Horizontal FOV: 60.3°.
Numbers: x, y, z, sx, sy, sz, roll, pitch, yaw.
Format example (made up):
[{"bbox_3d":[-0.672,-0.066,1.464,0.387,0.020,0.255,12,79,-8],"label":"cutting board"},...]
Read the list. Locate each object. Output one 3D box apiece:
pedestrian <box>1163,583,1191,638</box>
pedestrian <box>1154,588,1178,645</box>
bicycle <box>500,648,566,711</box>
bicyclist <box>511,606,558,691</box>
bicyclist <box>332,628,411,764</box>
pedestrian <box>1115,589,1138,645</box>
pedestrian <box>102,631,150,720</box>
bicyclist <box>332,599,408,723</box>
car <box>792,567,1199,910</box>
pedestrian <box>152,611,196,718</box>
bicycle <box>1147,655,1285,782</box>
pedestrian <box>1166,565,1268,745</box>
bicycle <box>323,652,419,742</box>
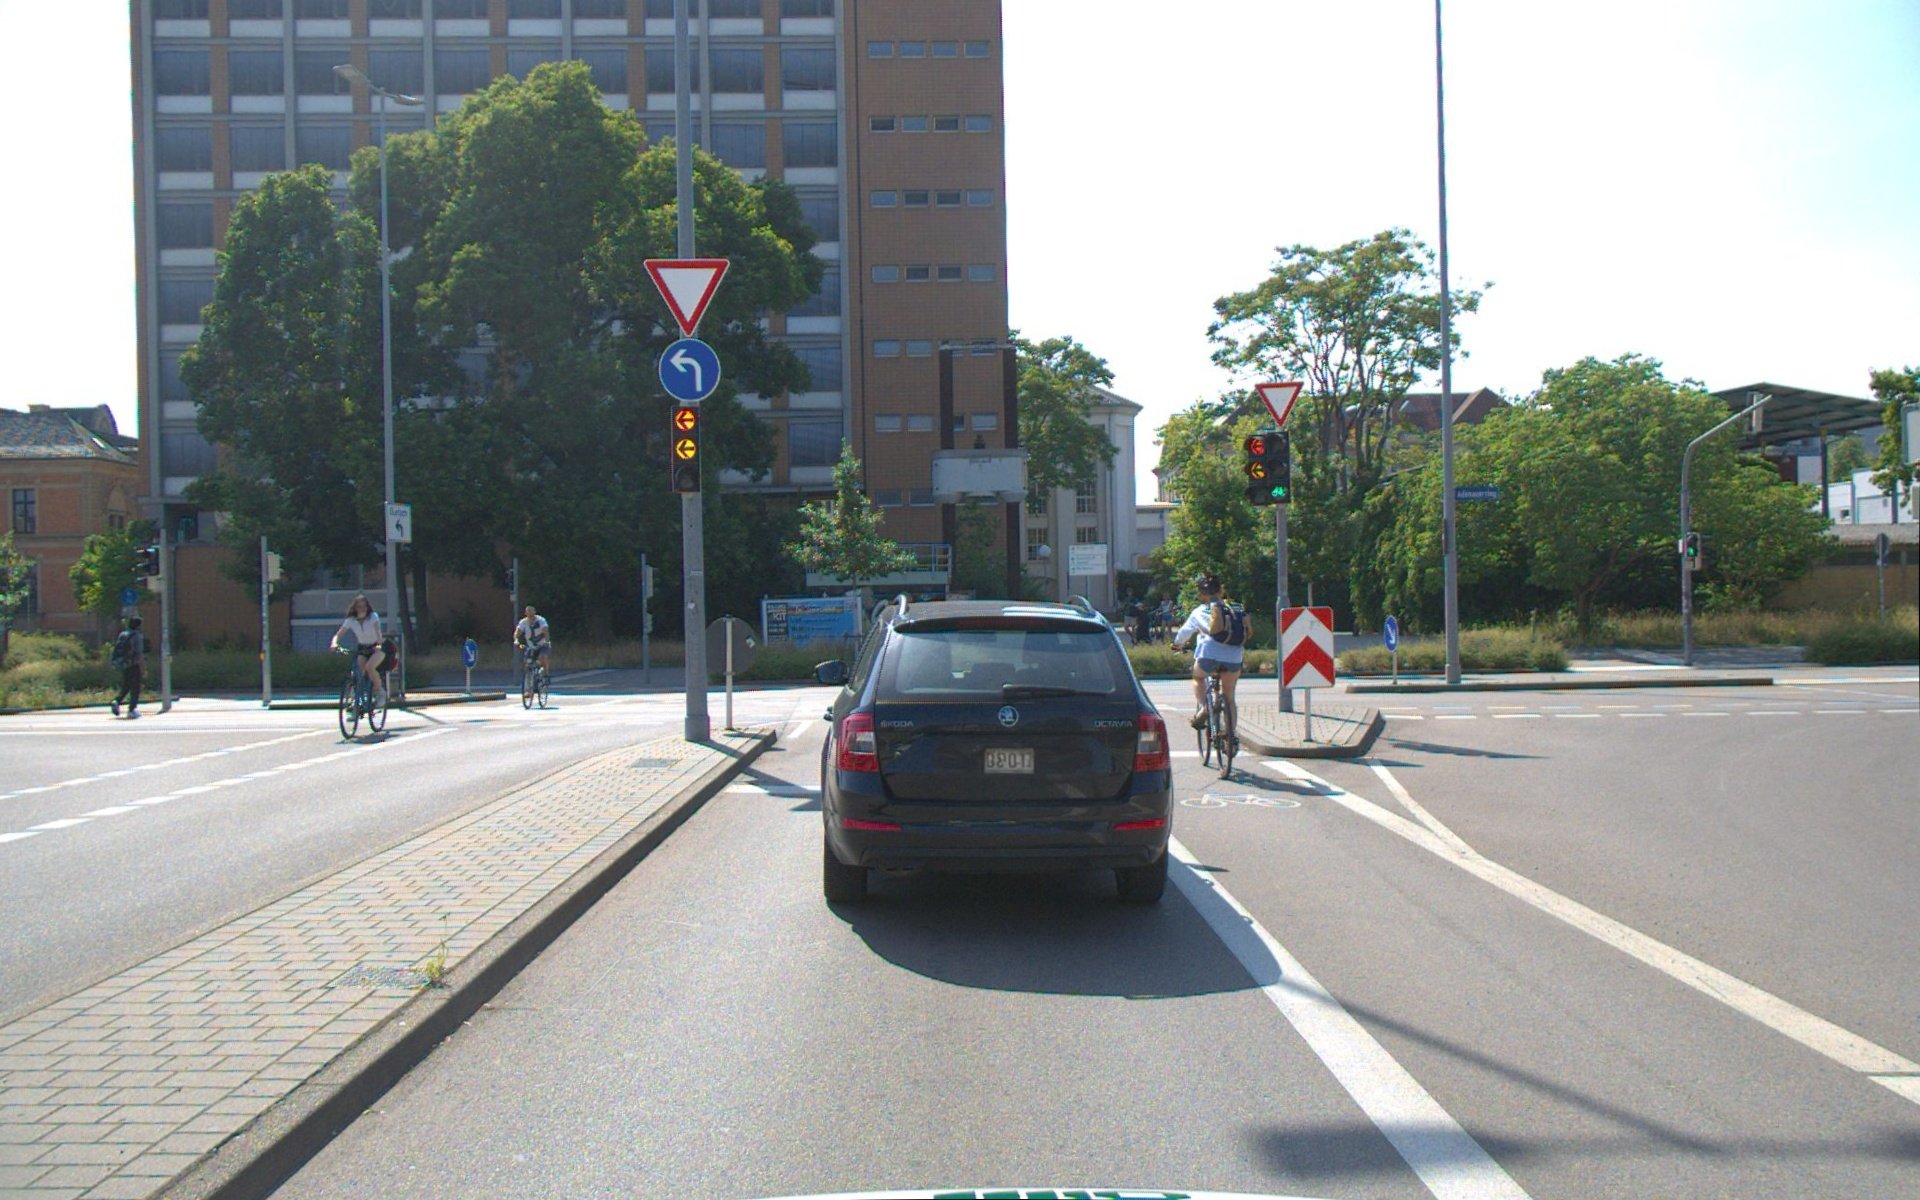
[{"bbox_3d":[7.750,0.368,59.035,0.778,1.907,0.638,-3,0,24],"label":"pedestrian"},{"bbox_3d":[6.968,0.550,56.004,0.624,1.907,0.796,-3,0,-1],"label":"pedestrian"},{"bbox_3d":[-7.439,1.371,28.901,0.690,0.994,2.029,-2,0,-3],"label":"bicycle"},{"bbox_3d":[-7.432,0.844,28.920,0.528,1.441,1.029,-2,-1,-3],"label":"bicyclist"},{"bbox_3d":[-7.340,1.181,20.680,0.606,1.609,1.012,-4,0,-6],"label":"bicyclist"},{"bbox_3d":[5.764,0.582,57.348,0.584,1.907,0.639,-2,0,22],"label":"pedestrian"},{"bbox_3d":[-14.608,1.313,28.977,0.621,1.518,0.614,-2,0,-17],"label":"pedestrian"},{"bbox_3d":[-7.368,0.749,20.682,0.606,1.468,0.919,-4,0,-6],"label":"bicyclist"},{"bbox_3d":[0.145,0.600,9.029,1.743,1.468,3.817,0,0,0],"label":"car"},{"bbox_3d":[-15.264,1.238,32.101,0.610,2.049,0.678,2,-2,-38],"label":"pedestrian"},{"bbox_3d":[2.184,0.991,14.375,0.585,0.947,2.024,0,0,-9],"label":"bicycle"},{"bbox_3d":[2.199,0.456,14.229,0.572,1.492,1.011,0,-1,-10],"label":"pedestrian"},{"bbox_3d":[-7.340,1.181,20.680,0.606,0.977,1.965,-4,0,-5],"label":"bicycle"}]
